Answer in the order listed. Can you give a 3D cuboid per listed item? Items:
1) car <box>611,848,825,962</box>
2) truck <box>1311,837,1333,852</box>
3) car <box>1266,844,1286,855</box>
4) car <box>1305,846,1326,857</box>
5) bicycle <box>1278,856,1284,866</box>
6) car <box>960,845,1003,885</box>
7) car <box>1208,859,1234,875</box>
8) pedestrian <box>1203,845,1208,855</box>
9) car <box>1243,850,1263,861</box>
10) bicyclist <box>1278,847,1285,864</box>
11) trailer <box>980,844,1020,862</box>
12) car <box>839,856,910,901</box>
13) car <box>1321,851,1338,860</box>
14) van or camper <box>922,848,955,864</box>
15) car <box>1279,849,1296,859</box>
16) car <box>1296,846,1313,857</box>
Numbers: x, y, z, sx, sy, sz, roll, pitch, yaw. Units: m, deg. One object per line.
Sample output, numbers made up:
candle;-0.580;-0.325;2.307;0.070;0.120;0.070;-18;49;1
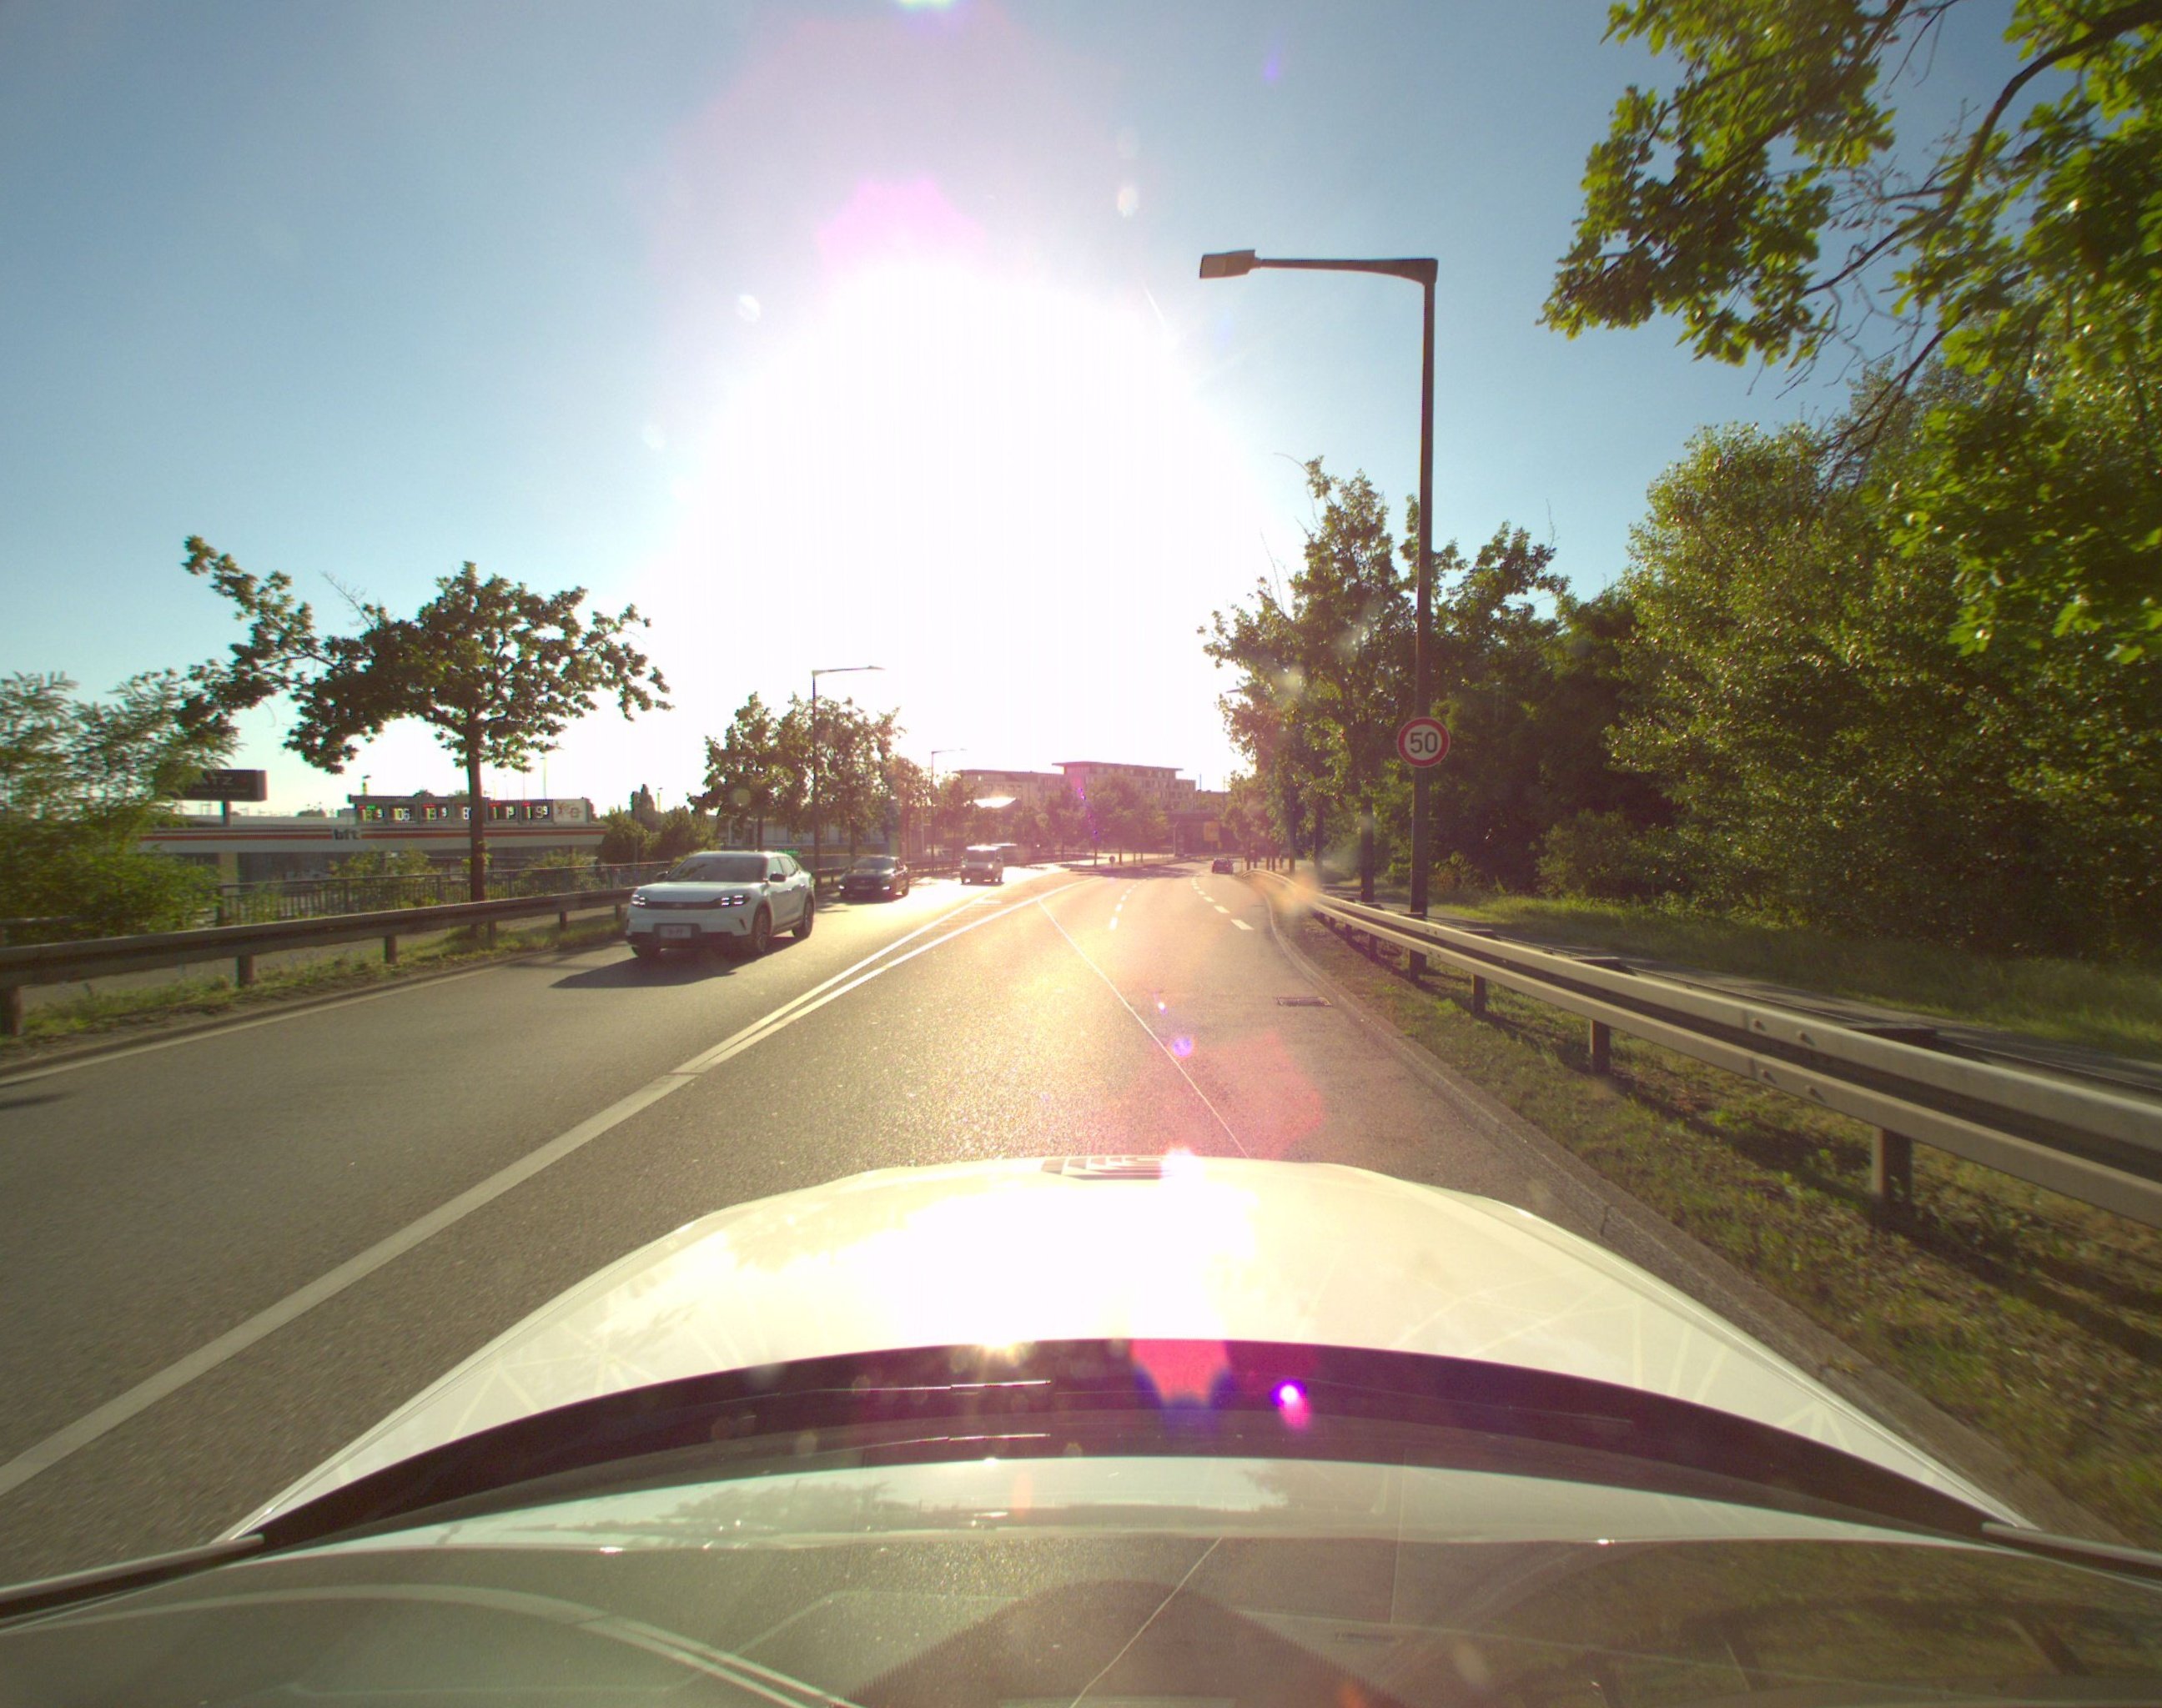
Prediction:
car;-5.810;0.744;13.756;1.825;1.589;4.640;1;-1;-5
truck;44.728;-1.783;150.799;2.008;2.556;5.573;1;2;38
car;32.080;-0.682;133.856;1.812;1.738;4.490;1;1;35
car;37.204;-0.414;129.248;1.724;1.454;4.636;2;3;35
bicycle;22.569;0.775;91.877;0.575;0.963;2.896;1;1;12
car;-5.346;0.551;44.322;1.873;2.014;5.254;-1;0;-3
car;13.813;1.268;80.362;1.978;1.508;4.018;-2;0;17
pedestrian;24.304;-0.741;158.500;0.687;1.903;0.669;1;1;39
car;24.375;0.230;115.339;1.566;1.408;3.856;2;2;33
bicyclist;22.589;0.147;91.869;0.677;1.906;0.836;1;1;12
trailer;-9.189;-0.167;93.152;2.402;1.969;6.632;1;1;15
car;-7.214;0.794;28.818;1.769;1.465;4.375;0;0;-5
car;41.265;0.199;135.140;1.755;1.495;3.856;0;1;33
van or camper;-17.669;0.235;101.075;2.011;1.926;4.177;1;0;-44
car;32.750;-0.072;128.938;1.532;1.423;3.439;-3;0;34
car;39.778;-0.453;144.968;1.823;1.719;4.025;-3;-1;32
